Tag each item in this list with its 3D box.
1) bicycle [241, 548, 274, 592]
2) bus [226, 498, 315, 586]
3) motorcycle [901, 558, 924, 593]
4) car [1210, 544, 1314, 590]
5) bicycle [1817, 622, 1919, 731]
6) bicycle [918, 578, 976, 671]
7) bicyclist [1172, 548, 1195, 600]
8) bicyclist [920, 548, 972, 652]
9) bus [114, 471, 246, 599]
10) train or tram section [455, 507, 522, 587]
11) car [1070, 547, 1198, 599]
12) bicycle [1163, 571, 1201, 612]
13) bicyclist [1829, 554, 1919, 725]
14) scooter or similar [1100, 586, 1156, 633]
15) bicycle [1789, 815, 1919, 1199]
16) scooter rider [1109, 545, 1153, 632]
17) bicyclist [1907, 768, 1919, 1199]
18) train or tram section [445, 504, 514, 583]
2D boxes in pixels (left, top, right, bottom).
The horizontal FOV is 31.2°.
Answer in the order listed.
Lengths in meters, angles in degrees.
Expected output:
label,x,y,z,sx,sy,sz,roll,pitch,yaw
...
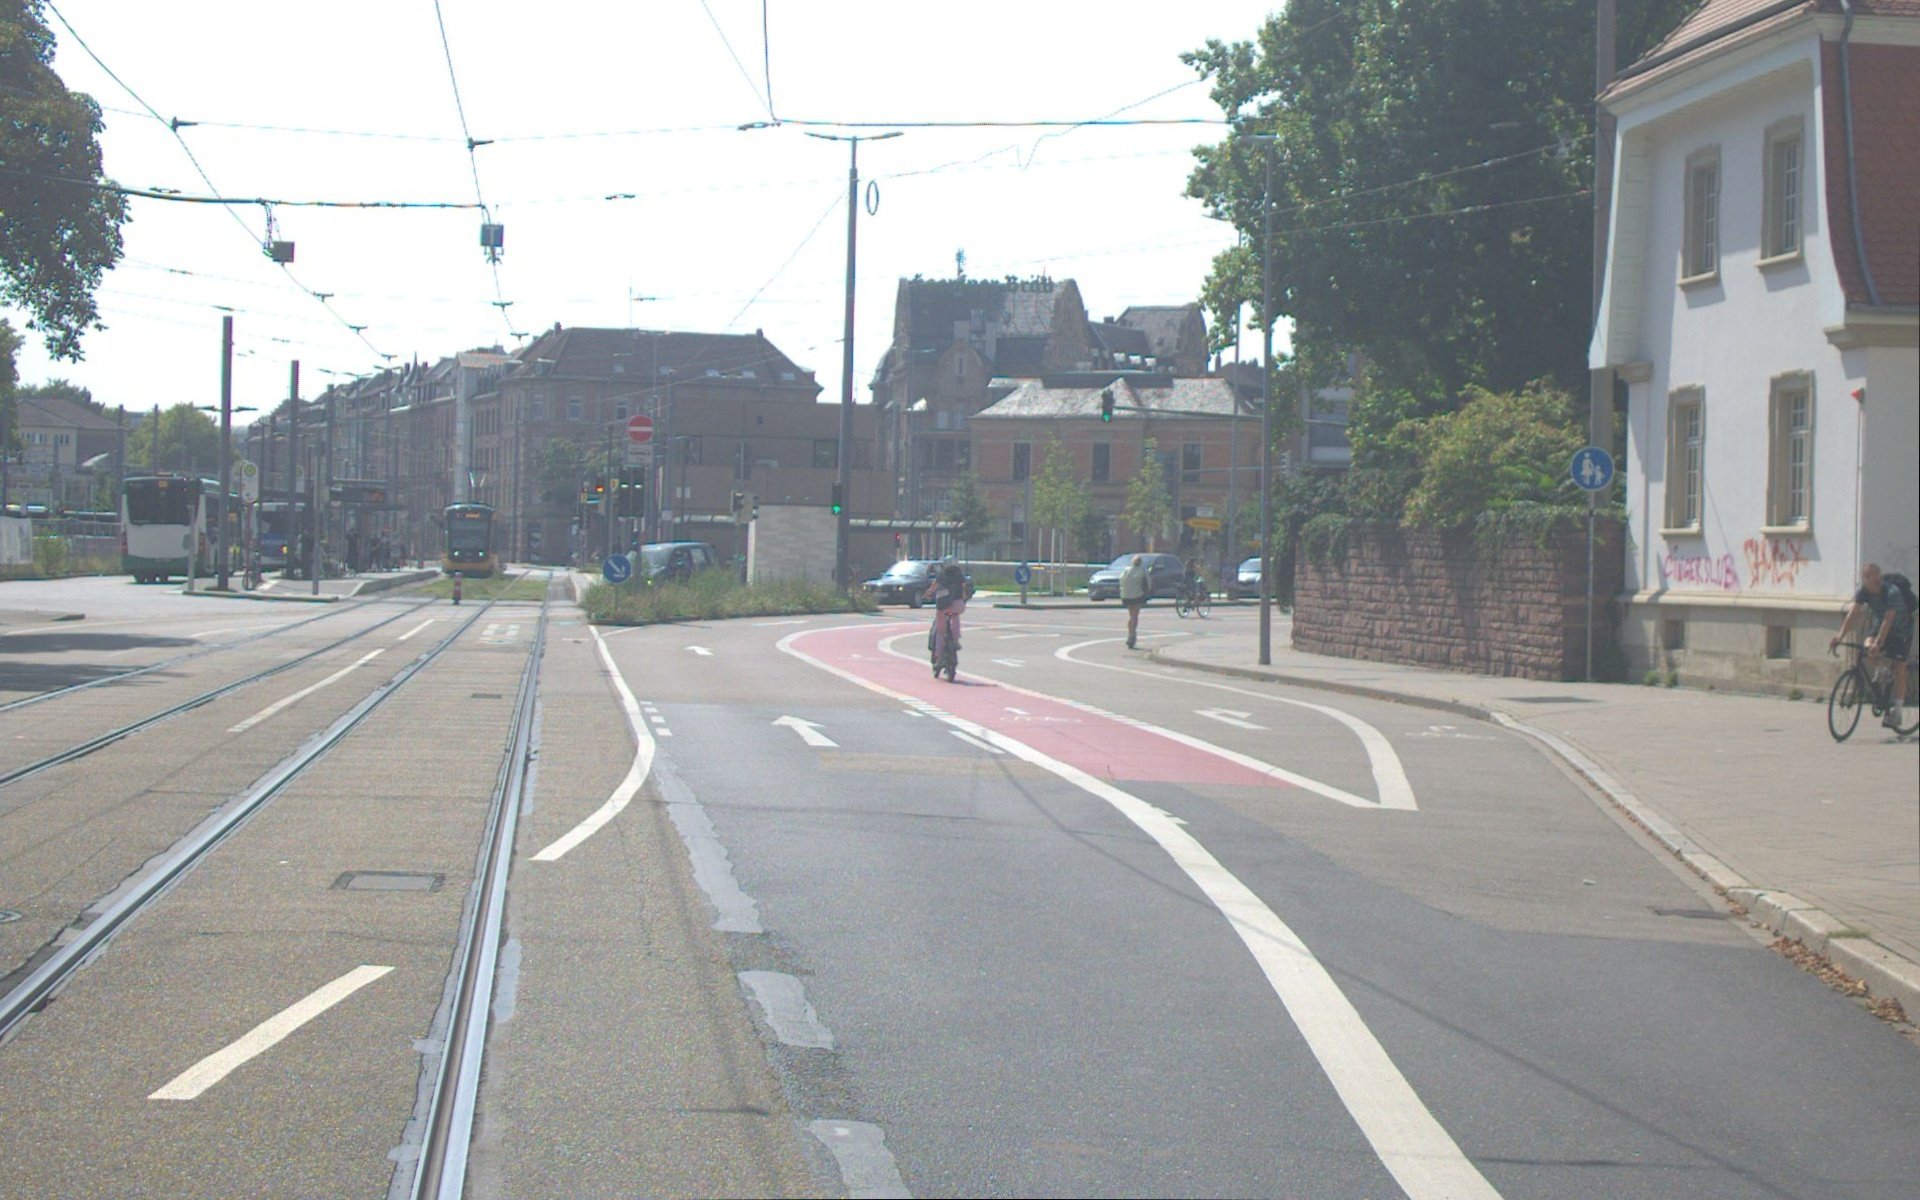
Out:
label,x,y,z,sx,sy,sz,roll,pitch,yaw
bicycle,-19.701,-0.837,96.441,0.607,1.218,1.705,1,1,-3
bus,-30.902,-2.583,154.448,2.709,3.714,10.421,2,0,-5
motorcycle,-1.675,-0.883,122.108,0.604,1.206,2.253,1,1,4
car,10.421,-1.137,118.382,1.654,1.525,4.317,1,1,34
bicycle,9.013,0.733,32.896,1.706,0.996,0.616,1,0,-37
bicycle,-0.177,0.310,44.663,0.604,1.159,1.811,1,1,-4
bicyclist,6.191,-0.724,95.108,0.450,1.416,0.495,1,0,29
bicyclist,-0.181,-0.002,44.698,0.602,1.331,0.660,1,1,-4
bus,-24.666,-2.029,109.156,2.957,3.762,10.599,2,0,-7
train or tram section,-25.429,-2.835,186.037,2.885,4.054,19.145,2,0,-6
car,5.574,-0.852,109.694,1.775,1.605,4.663,2,1,36
bicycle,6.127,-0.228,95.015,0.445,1.113,1.444,1,1,30
bicyclist,8.894,0.377,32.791,0.989,1.593,0.628,1,1,-36
scooter or similar,3.464,0.190,70.730,0.773,0.923,1.619,2,1,16
bicycle,2.395,1.042,6.778,0.739,1.045,2.234,1,1,-7
scooter rider,3.522,-0.245,70.870,0.762,1.769,0.555,1,1,16
bicyclist,2.415,0.639,6.731,0.745,1.407,0.962,1,1,-6
train or tram section,-23.181,-2.705,166.449,2.856,3.536,17.746,2,0,-7
